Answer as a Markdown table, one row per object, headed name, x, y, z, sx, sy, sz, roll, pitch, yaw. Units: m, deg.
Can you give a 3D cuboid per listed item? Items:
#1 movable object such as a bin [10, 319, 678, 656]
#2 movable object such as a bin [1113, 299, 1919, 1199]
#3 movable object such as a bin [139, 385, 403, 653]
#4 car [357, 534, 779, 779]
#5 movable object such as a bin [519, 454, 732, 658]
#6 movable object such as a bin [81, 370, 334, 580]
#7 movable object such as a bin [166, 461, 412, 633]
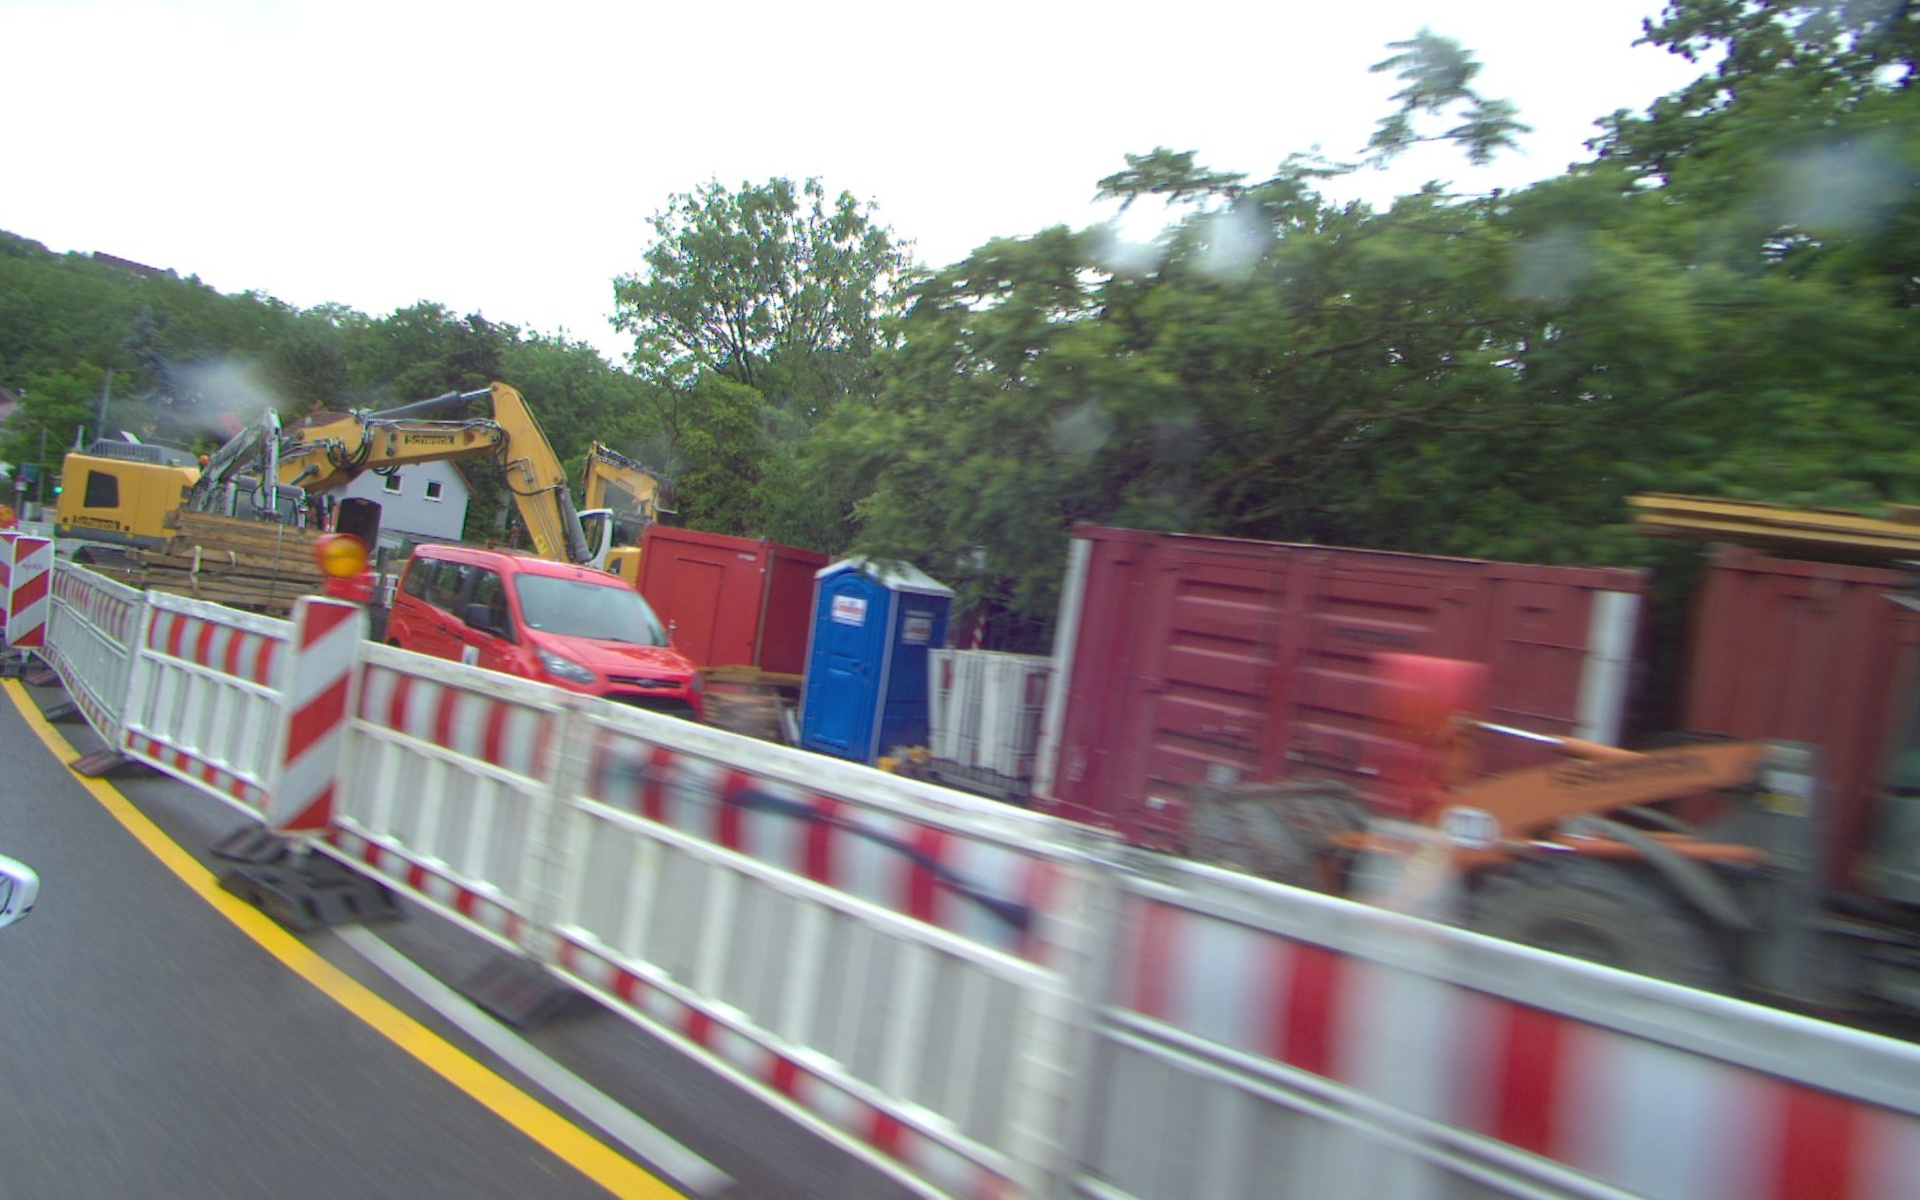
| name | x | y | z | sx | sy | sz | roll | pitch | yaw |
| --- | --- | --- | --- | --- | --- | --- | --- | --- | --- |
| movable object such as a bin | -11.179 | -1.969 | 18.785 | 10.612 | 4.974 | 3.072 | 5 | -2 | 7 |
| movable object such as a bin | 3.762 | 0.717 | 4.433 | 5.199 | 3.265 | 2.078 | 14 | 2 | 35 |
| movable object such as a bin | -10.295 | -1.082 | 14.961 | 3.781 | 3.343 | 1.993 | 3 | -3 | 39 |
| car | -4.250 | 0.449 | 10.377 | 4.931 | 1.800 | 1.991 | 6 | -2 | 44 |
| movable object such as a bin | -7.443 | -1.012 | 22.143 | 4.552 | 3.934 | 1.992 | 7 | -1 | 41 |
| movable object such as a bin | -29.705 | -4.695 | 40.000 | 3.001 | 6.768 | 6.948 | 6 | -1 | 39 |
| movable object such as a bin | -16.203 | -1.194 | 24.461 | 2.368 | 3.242 | 3.994 | 14 | 2 | 33 |
